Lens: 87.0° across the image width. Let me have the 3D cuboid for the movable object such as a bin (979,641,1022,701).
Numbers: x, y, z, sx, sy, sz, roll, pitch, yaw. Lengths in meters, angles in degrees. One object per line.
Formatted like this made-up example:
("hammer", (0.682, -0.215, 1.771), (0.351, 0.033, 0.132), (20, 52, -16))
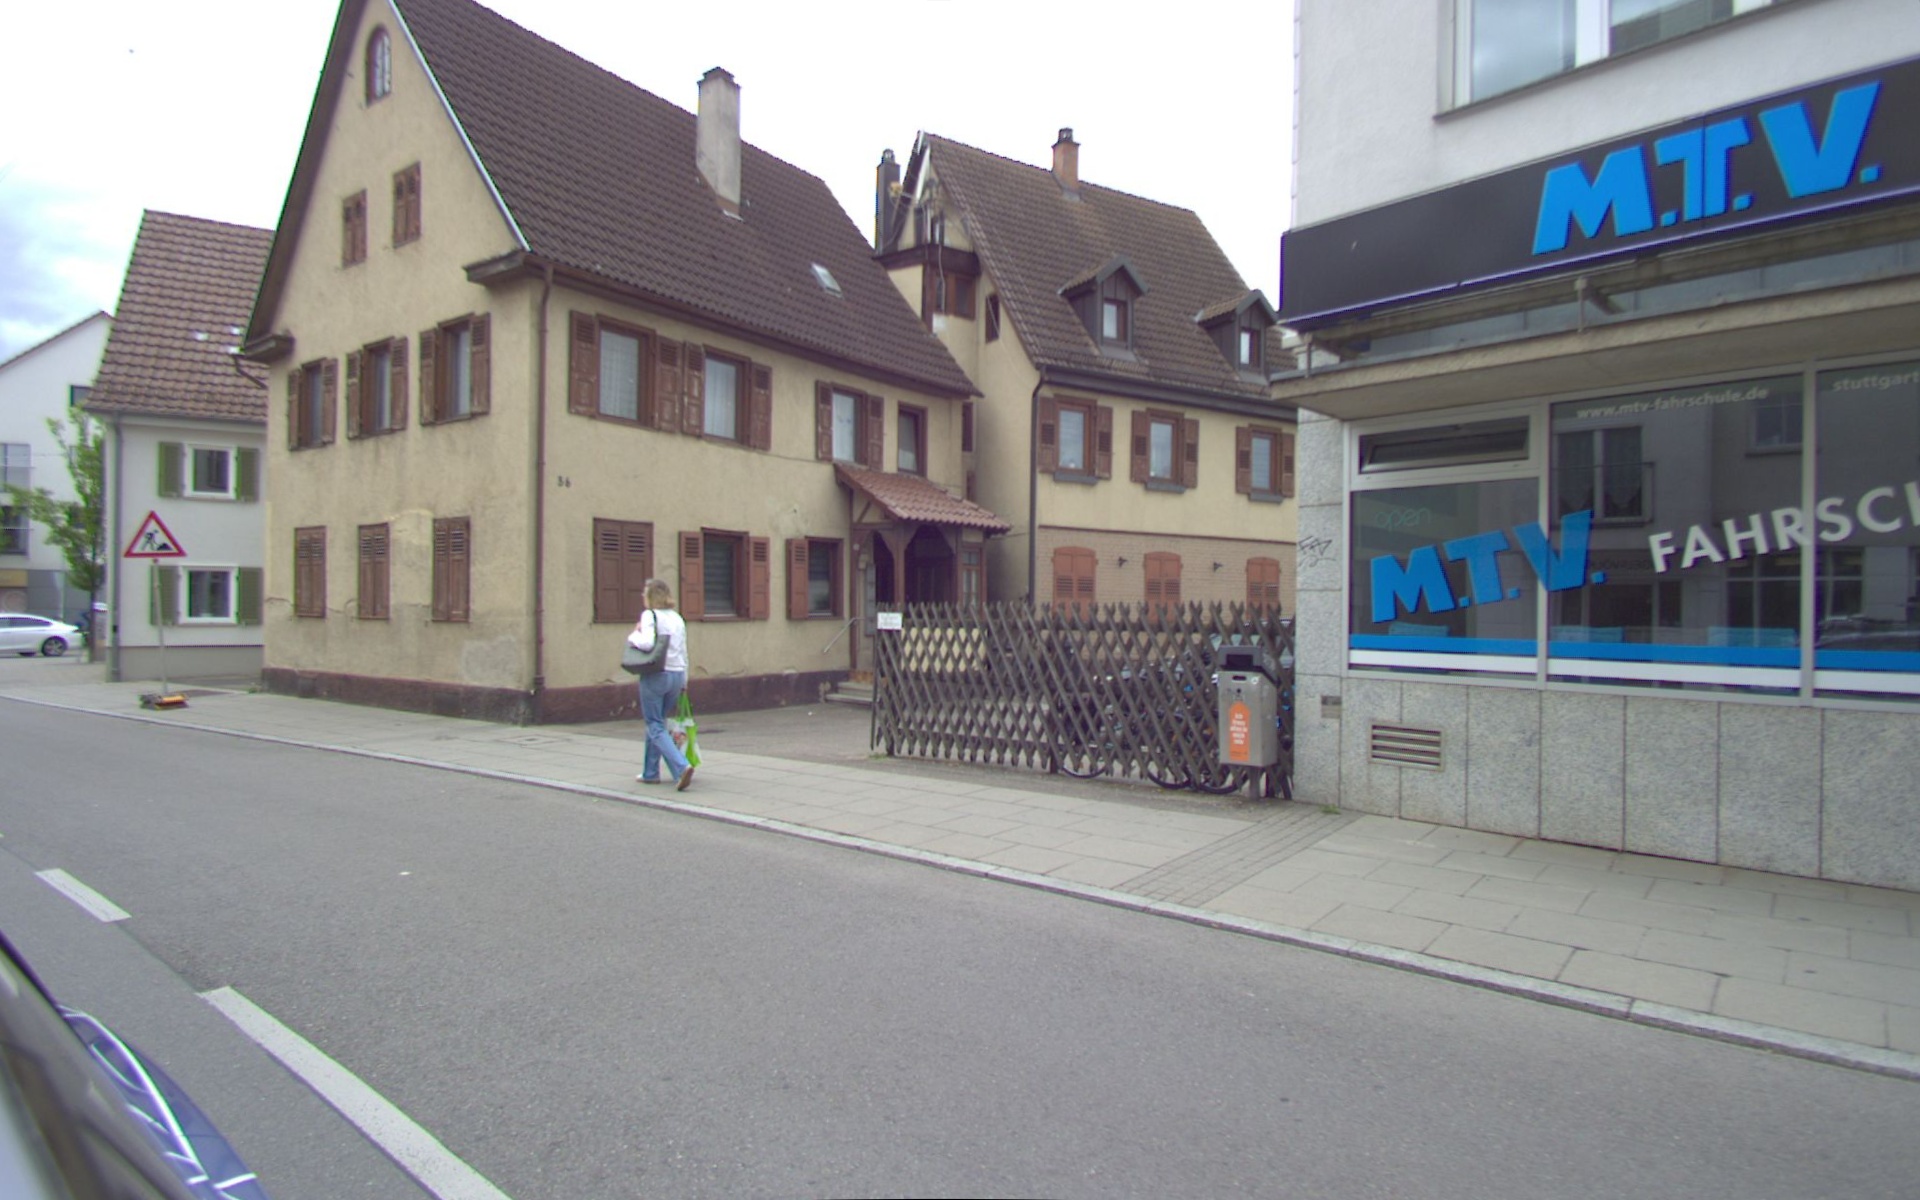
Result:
("movable object such as a bin", (0.750, 1.309, 18.839), (0.626, 1.075, 0.536), (1, -2, -22))

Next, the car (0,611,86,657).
("car", (-32.294, 1.131, 33.329), (2.234, 1.488, 4.882), (-1, 0, 22))

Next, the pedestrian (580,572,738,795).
("pedestrian", (-2.445, 0.643, 8.265), (0.859, 1.678, 0.885), (-1, -2, 32))

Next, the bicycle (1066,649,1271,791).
("bicycle", (1.713, 0.962, 8.533), (1.747, 1.061, 0.319), (-1, -2, 40))

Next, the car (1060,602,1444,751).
("car", (3.600, 0.846, 12.635), (4.272, 1.575, 1.979), (-1, -2, 31))

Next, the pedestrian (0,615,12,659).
("pedestrian", (-35.382, 1.353, 37.236), (0.879, 1.604, 0.673), (-1, -2, 43))

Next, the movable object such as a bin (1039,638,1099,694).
("movable object such as a bin", (2.088, 1.248, 19.364), (0.953, 1.034, 0.642), (1, -2, -28))
